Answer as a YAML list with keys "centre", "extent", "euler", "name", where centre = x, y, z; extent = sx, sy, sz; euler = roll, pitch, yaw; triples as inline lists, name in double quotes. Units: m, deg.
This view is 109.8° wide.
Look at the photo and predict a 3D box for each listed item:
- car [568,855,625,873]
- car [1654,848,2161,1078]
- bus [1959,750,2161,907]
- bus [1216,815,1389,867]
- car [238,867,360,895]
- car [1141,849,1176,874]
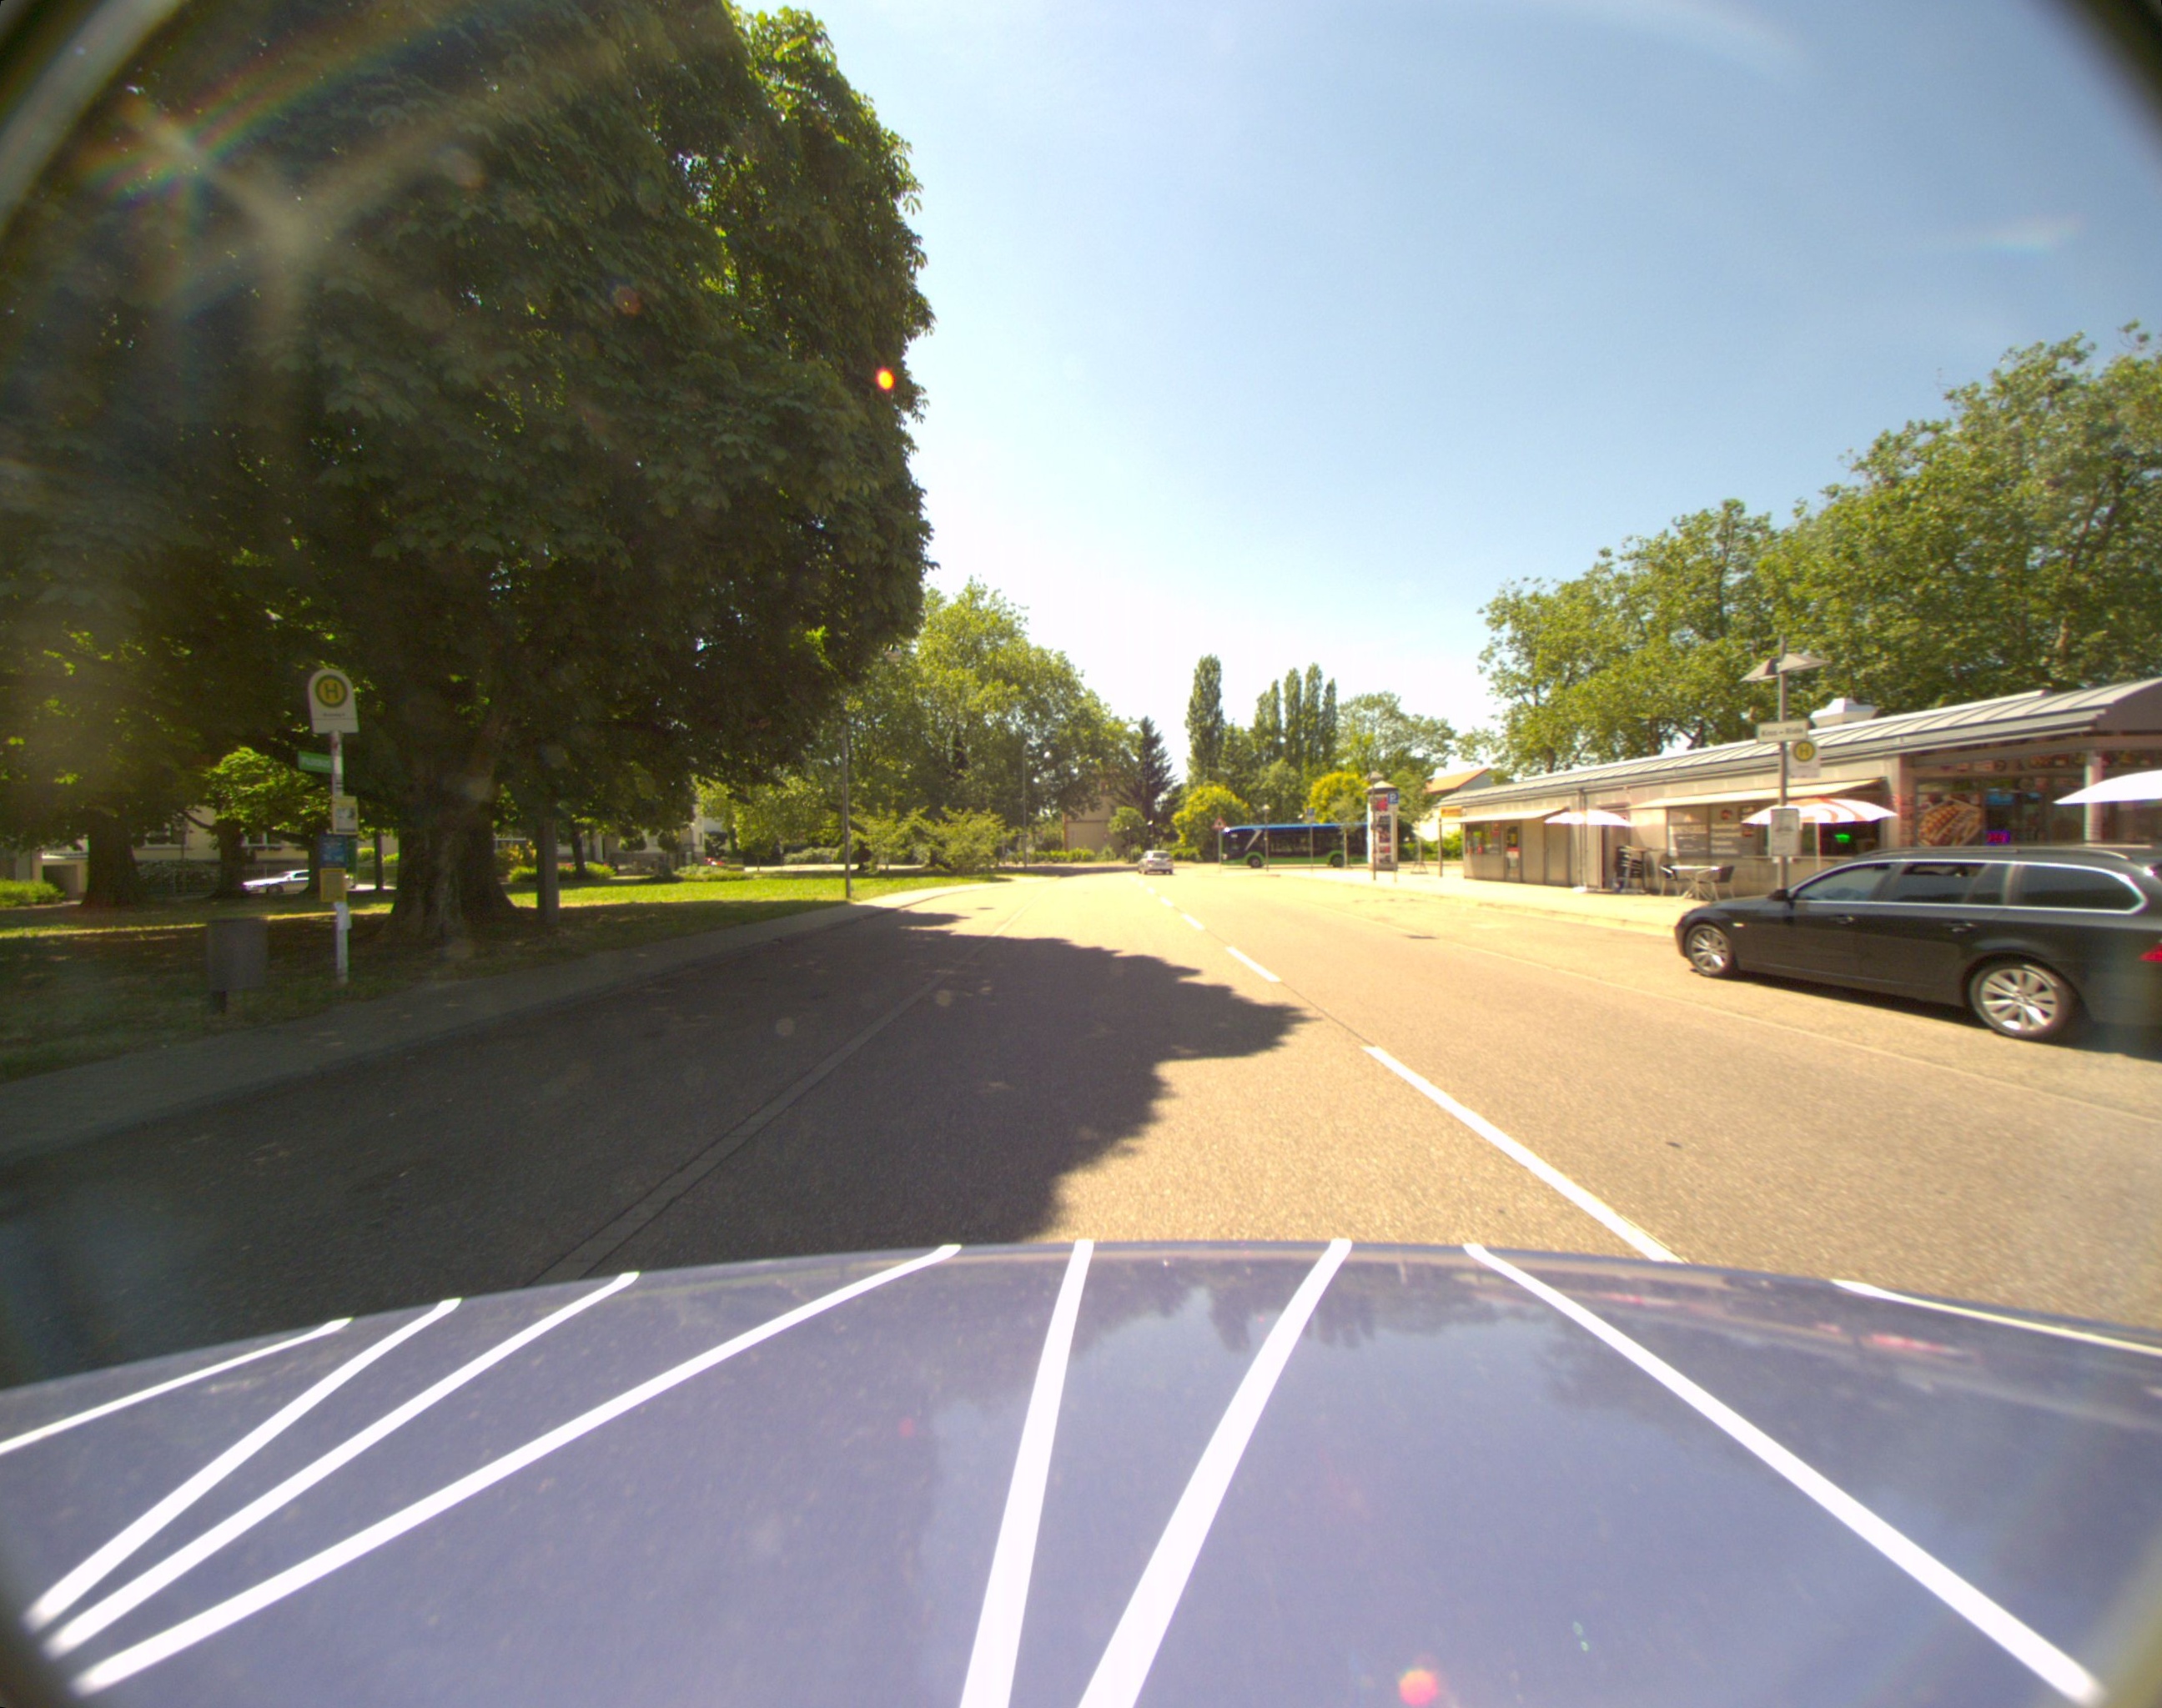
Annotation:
- centre: [-44.984, 0.914, 70.608]
  extent: [3.995, 1.559, 2.001]
  euler: [-1, 1, 5]
  name: "car"
- centre: [8.002, 0.709, 7.068]
  extent: [1.723, 1.470, 4.785]
  euler: [-1, 1, 0]
  name: "car"
- centre: [23.634, -0.525, 13.340]
  extent: [2.972, 3.214, 11.847]
  euler: [-1, 0, 2]
  name: "bus"
- centre: [16.485, -0.901, 57.021]
  extent: [12.194, 3.506, 2.172]
  euler: [-1, 1, 22]
  name: "bus"
- centre: [-45.904, 1.543, 44.744]
  extent: [1.667, 1.280, 4.719]
  euler: [0, 2, 16]
  name: "car"
- centre: [4.671, 0.427, 46.498]
  extent: [1.819, 1.436, 4.158]
  euler: [0, 0, 1]
  name: "car"
